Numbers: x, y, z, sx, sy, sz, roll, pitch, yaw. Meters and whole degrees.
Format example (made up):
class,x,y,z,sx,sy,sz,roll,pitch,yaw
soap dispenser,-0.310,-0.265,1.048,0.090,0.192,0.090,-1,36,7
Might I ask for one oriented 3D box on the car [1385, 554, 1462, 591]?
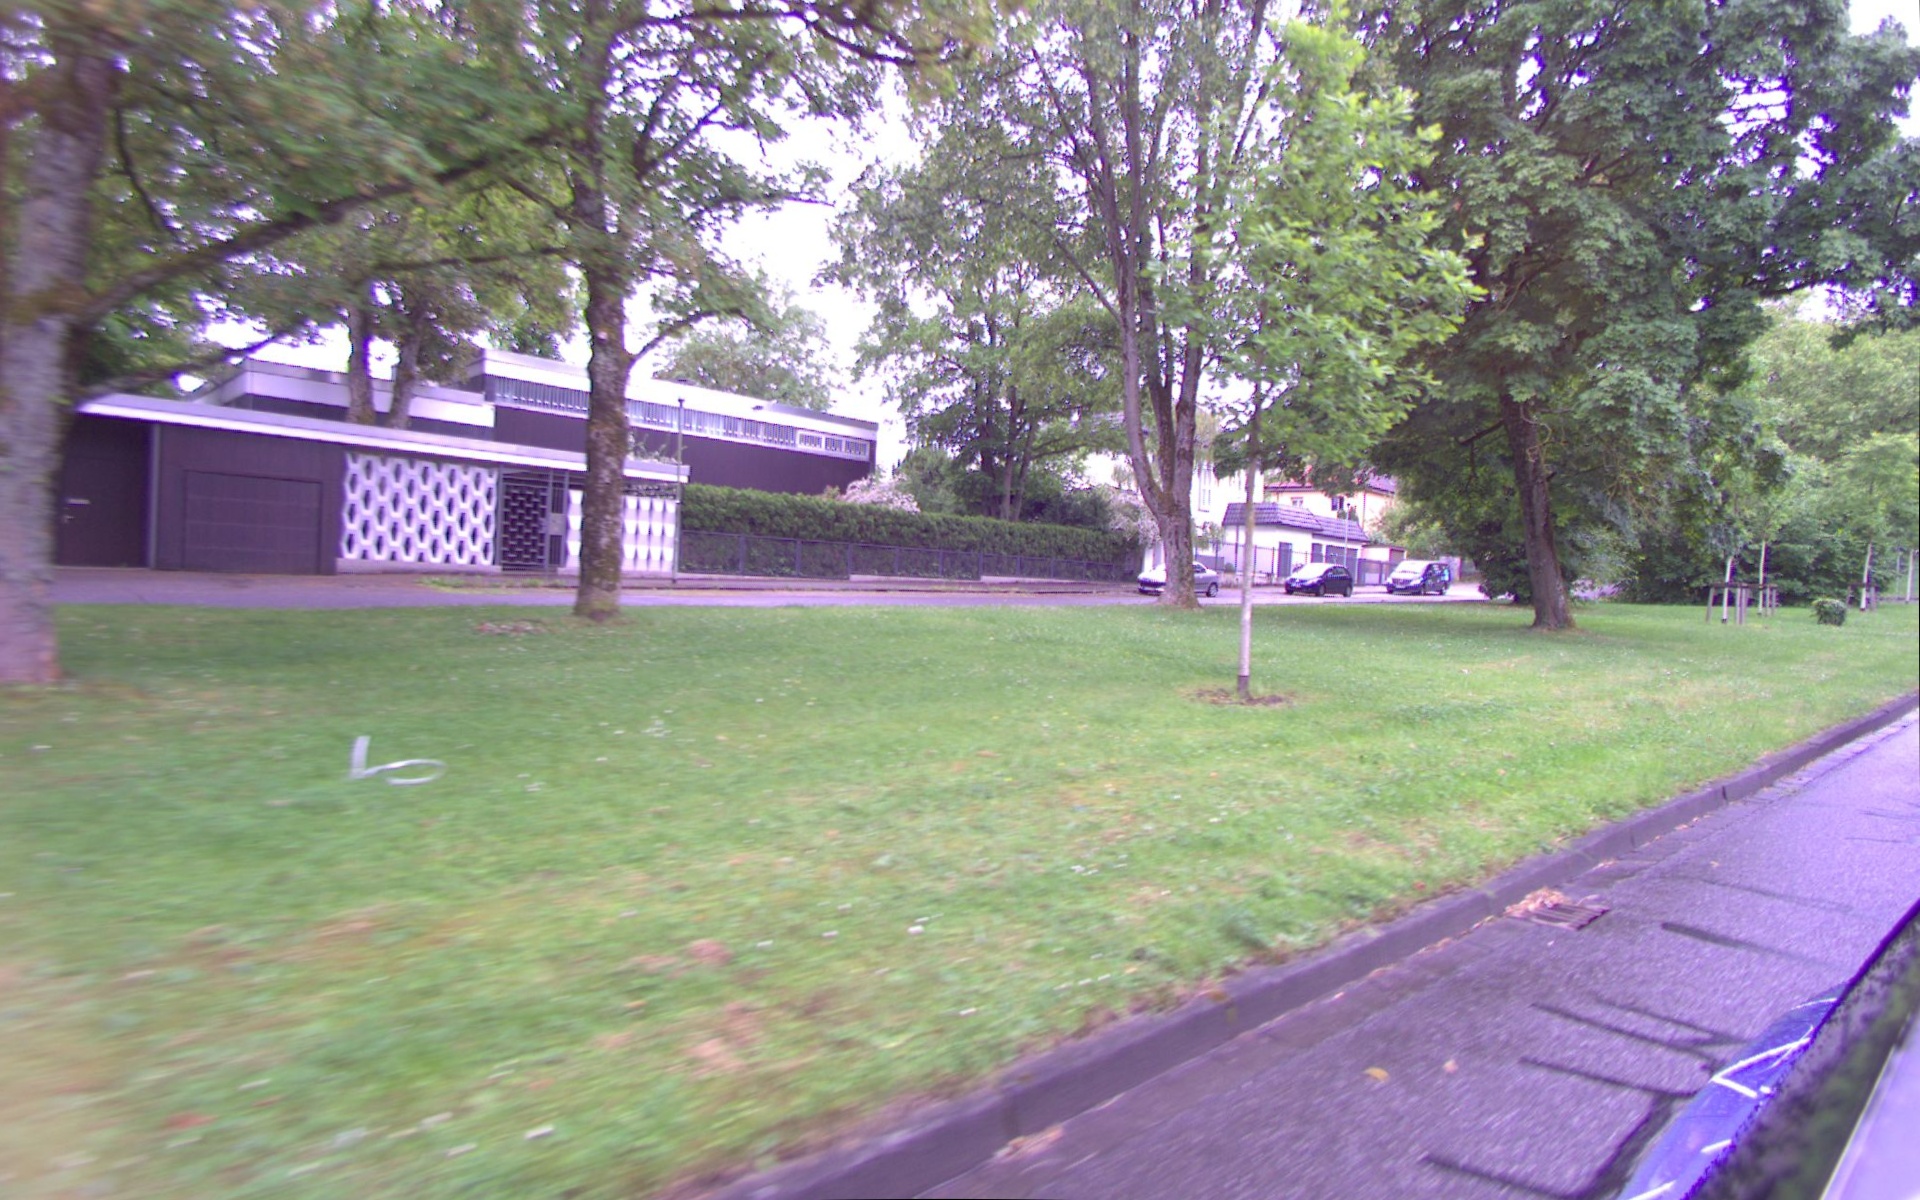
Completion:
class,x,y,z,sx,sy,sz,roll,pitch,yaw
car,25.588,-1.536,55.808,4.987,1.901,2.162,-2,5,-44

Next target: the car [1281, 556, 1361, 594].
class,x,y,z,sx,sy,sz,roll,pitch,yaw
car,16.864,-1.186,47.172,3.969,1.644,1.904,-2,5,-44

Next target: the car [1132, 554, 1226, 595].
class,x,y,z,sx,sy,sz,roll,pitch,yaw
car,8.384,-0.998,38.567,3.648,1.391,1.684,-1,6,-44
